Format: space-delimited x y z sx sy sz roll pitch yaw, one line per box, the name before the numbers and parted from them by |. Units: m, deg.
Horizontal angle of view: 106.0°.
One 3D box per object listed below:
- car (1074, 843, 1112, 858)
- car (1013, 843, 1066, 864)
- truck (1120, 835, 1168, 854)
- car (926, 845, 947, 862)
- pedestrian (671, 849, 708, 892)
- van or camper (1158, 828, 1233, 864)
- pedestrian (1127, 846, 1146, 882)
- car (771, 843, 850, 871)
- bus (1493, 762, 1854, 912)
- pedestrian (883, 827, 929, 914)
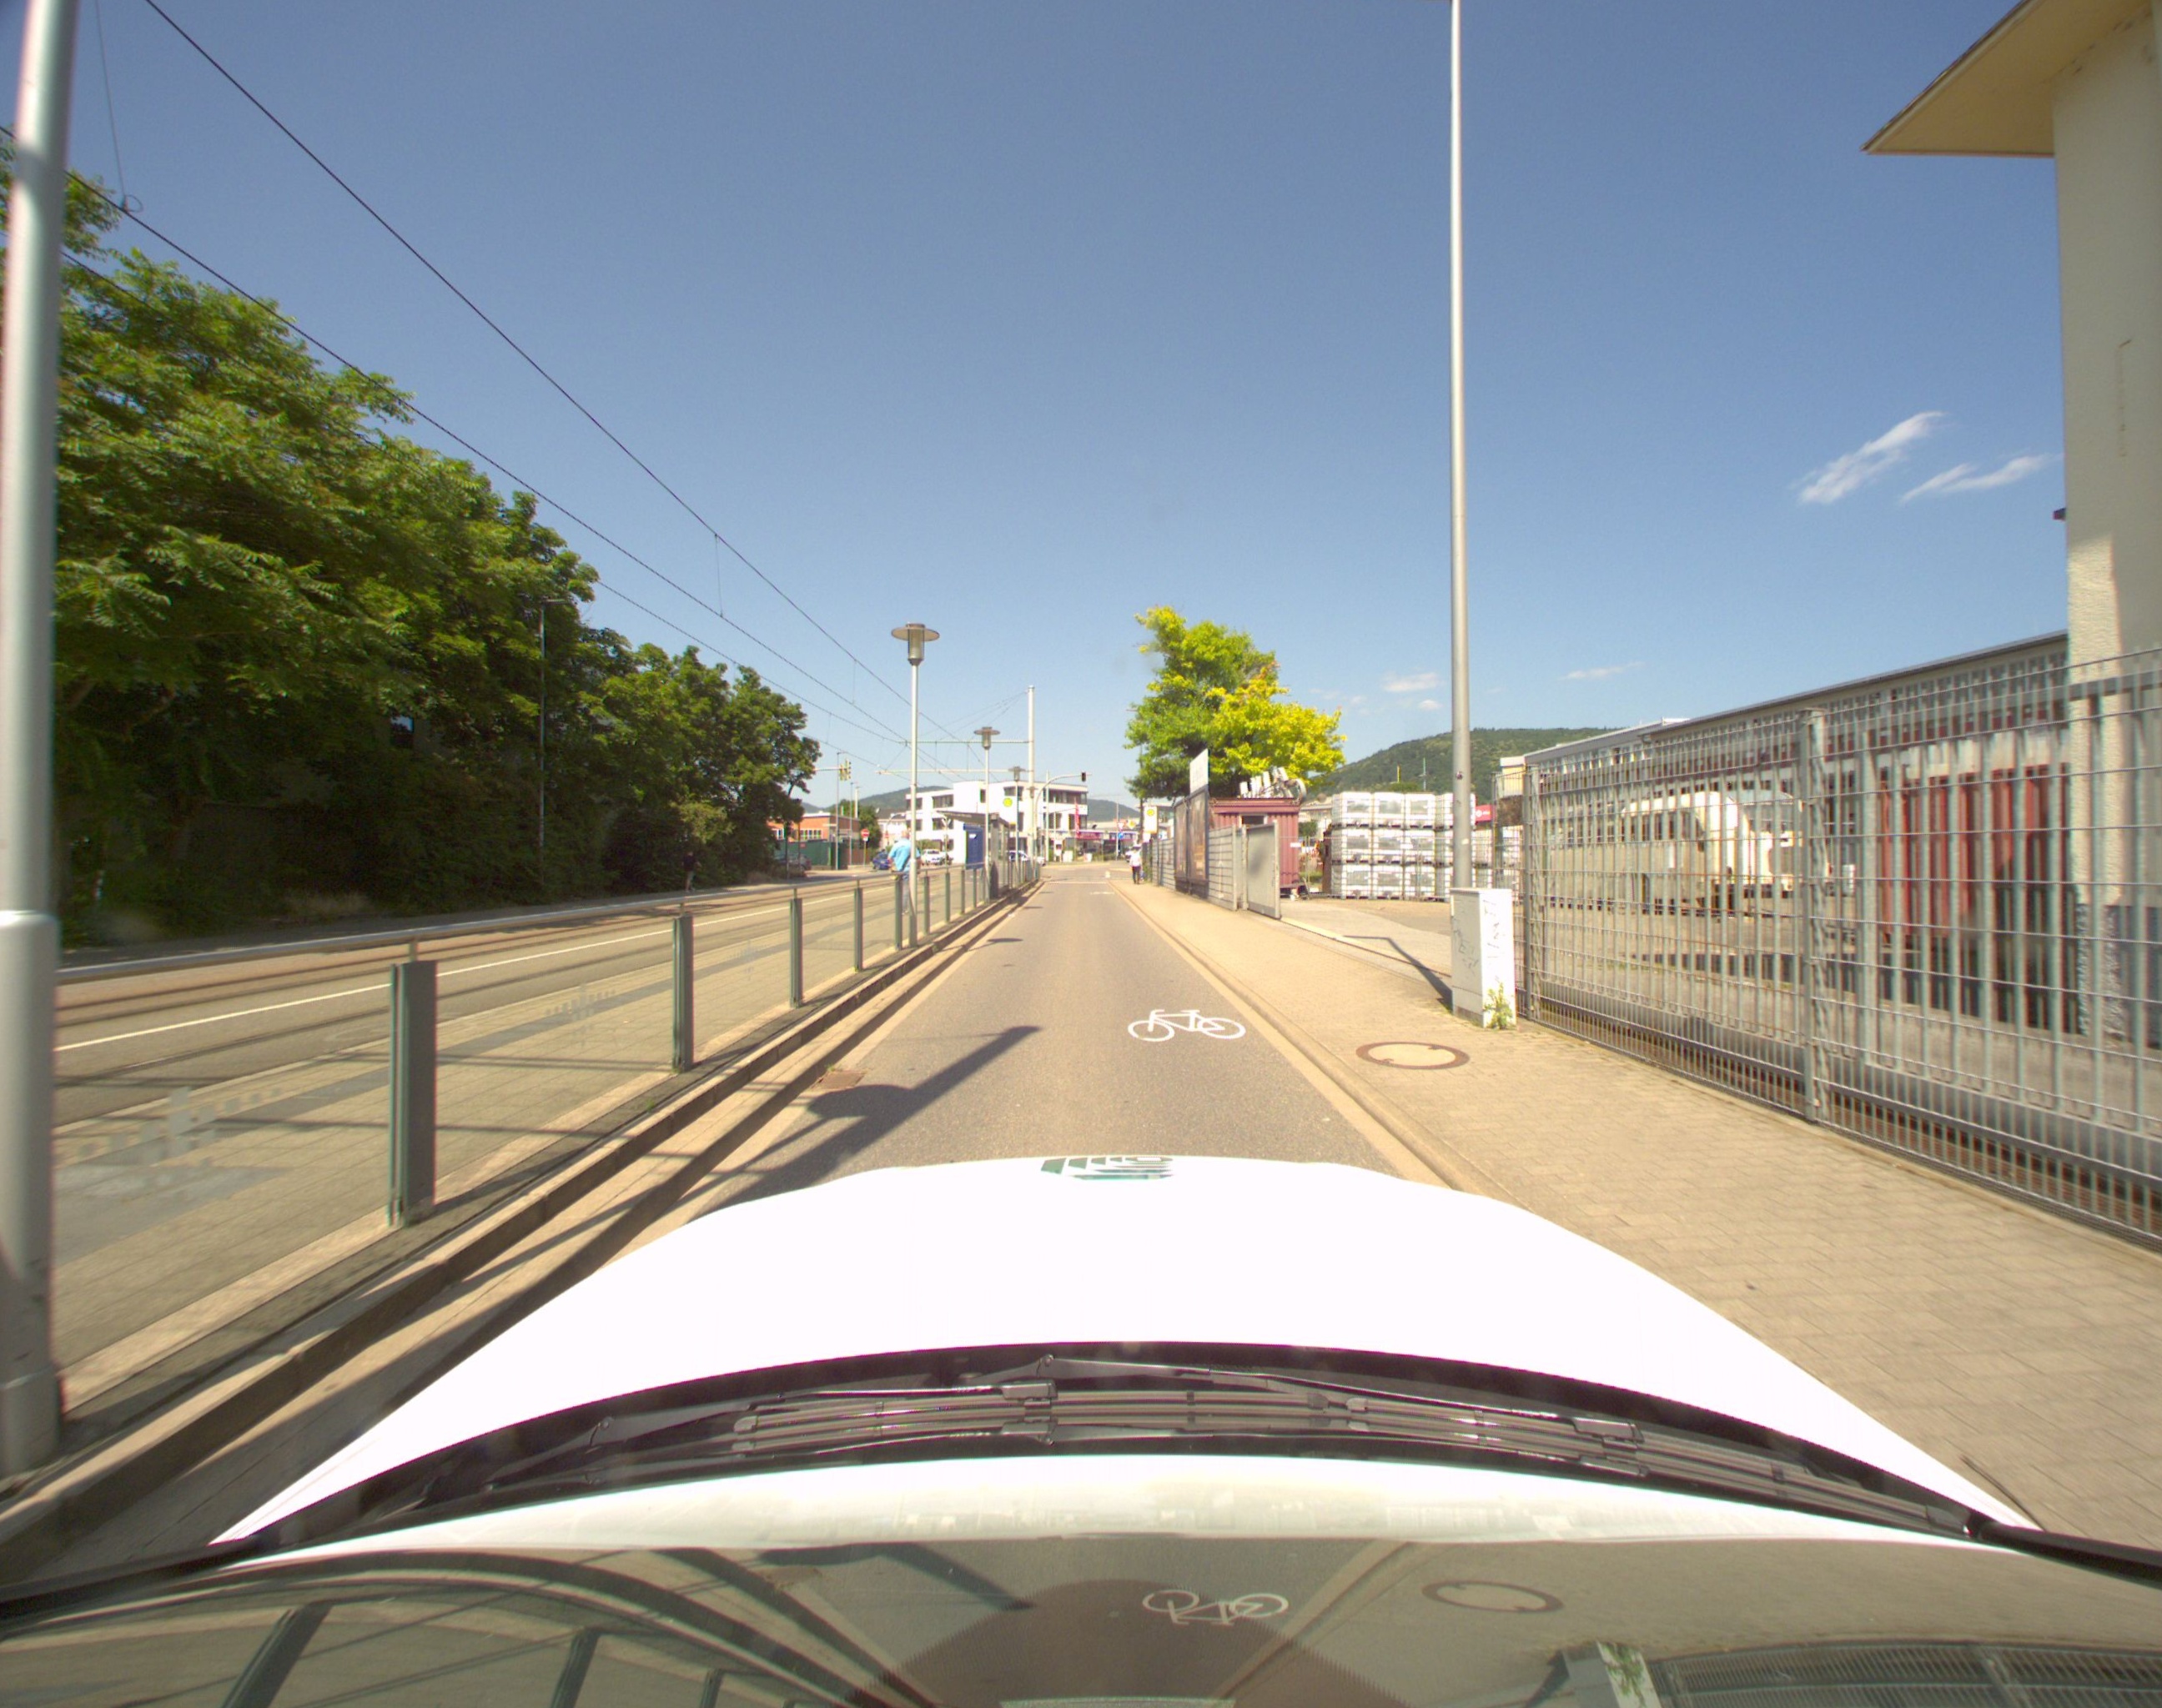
car | 1.622 -0.482 109.234 5.310 1.965 1.942 -1 0 -43
car | -3.676 -0.025 71.523 4.544 1.733 1.996 -1 1 -7
truck | 8.034 -1.188 103.154 6.424 2.337 2.183 -1 0 -42
car | -17.608 -0.001 99.550 2.160 2.014 5.006 -1 0 -7
pedestrian | -15.675 0.638 32.647 0.883 1.670 1.160 -1 0 -1
van or camper | 9.191 -0.648 65.687 5.787 2.773 2.092 -1 1 2
pedestrian | 2.668 0.485 39.151 0.810 1.699 0.887 -1 0 -2
car | -19.197 0.227 57.980 2.075 1.837 4.940 -1 0 45
bus | 15.197 -0.230 22.458 2.556 3.172 10.268 -1 -2 1
pedestrian | -3.575 0.315 16.683 0.721 1.724 0.944 0 1 0
